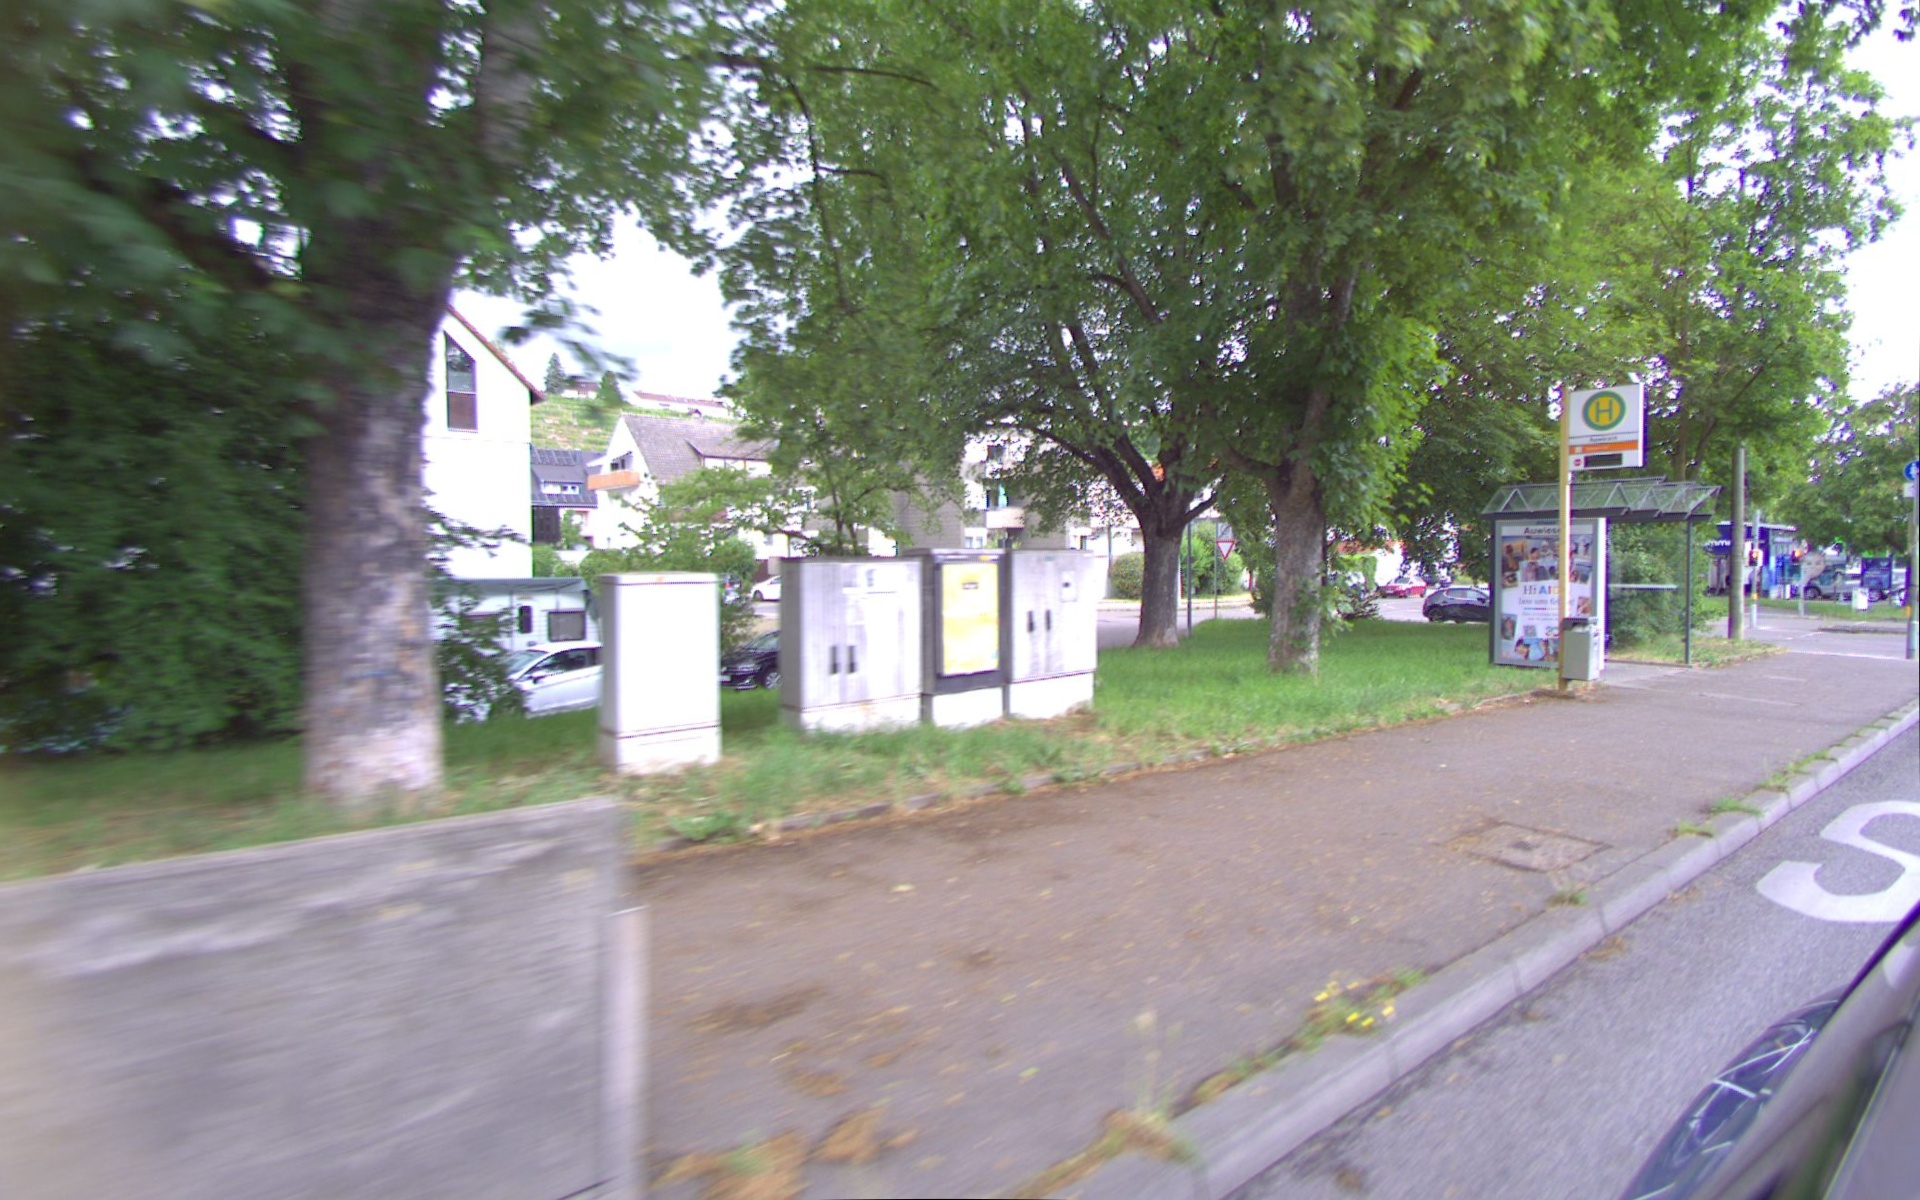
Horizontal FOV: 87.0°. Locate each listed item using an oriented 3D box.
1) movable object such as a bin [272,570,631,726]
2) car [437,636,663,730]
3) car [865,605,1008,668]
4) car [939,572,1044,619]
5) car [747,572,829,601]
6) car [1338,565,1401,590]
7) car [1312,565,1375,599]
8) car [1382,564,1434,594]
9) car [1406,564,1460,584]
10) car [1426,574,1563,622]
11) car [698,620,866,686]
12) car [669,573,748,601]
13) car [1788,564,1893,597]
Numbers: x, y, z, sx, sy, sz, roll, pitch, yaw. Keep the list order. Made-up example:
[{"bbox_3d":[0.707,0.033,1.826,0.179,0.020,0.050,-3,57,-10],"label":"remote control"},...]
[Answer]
[{"bbox_3d":[-9.996,0.773,20.493,1.991,2.656,6.180,-1,1,41],"label":"movable object such as a bin"},{"bbox_3d":[-7.759,1.502,19.431,1.475,1.403,3.787,-1,1,39],"label":"car"},{"bbox_3d":[-0.582,0.955,28.193,1.656,1.479,4.231,-1,1,38],"label":"car"},{"bbox_3d":[1.328,-0.184,41.774,3.944,1.788,1.990,-2,0,17],"label":"car"},{"bbox_3d":[-9.334,-0.756,54.861,3.952,1.536,1.986,1,1,22],"label":"car"},{"bbox_3d":[30.140,-1.666,74.536,1.888,1.716,3.804,-2,1,-43],"label":"car"},{"bbox_3d":[22.790,-1.067,60.080,4.333,1.865,1.719,-2,1,-42],"label":"car"},{"bbox_3d":[29.156,-1.384,65.841,3.856,1.865,1.618,-2,1,-41],"label":"car"},{"bbox_3d":[38.200,-2.091,81.727,1.743,1.475,3.557,-2,1,-37],"label":"car"},{"bbox_3d":[19.430,-0.124,36.988,1.671,1.544,4.170,-2,3,-32],"label":"car"},{"bbox_3d":[-4.143,1.191,24.042,1.618,1.262,3.805,-1,1,39],"label":"car"},{"bbox_3d":[-14.222,-0.740,57.201,3.952,1.536,1.986,1,1,22],"label":"car"},{"bbox_3d":[49.711,-1.147,57.269,4.183,1.718,1.819,2,3,34],"label":"car"}]
